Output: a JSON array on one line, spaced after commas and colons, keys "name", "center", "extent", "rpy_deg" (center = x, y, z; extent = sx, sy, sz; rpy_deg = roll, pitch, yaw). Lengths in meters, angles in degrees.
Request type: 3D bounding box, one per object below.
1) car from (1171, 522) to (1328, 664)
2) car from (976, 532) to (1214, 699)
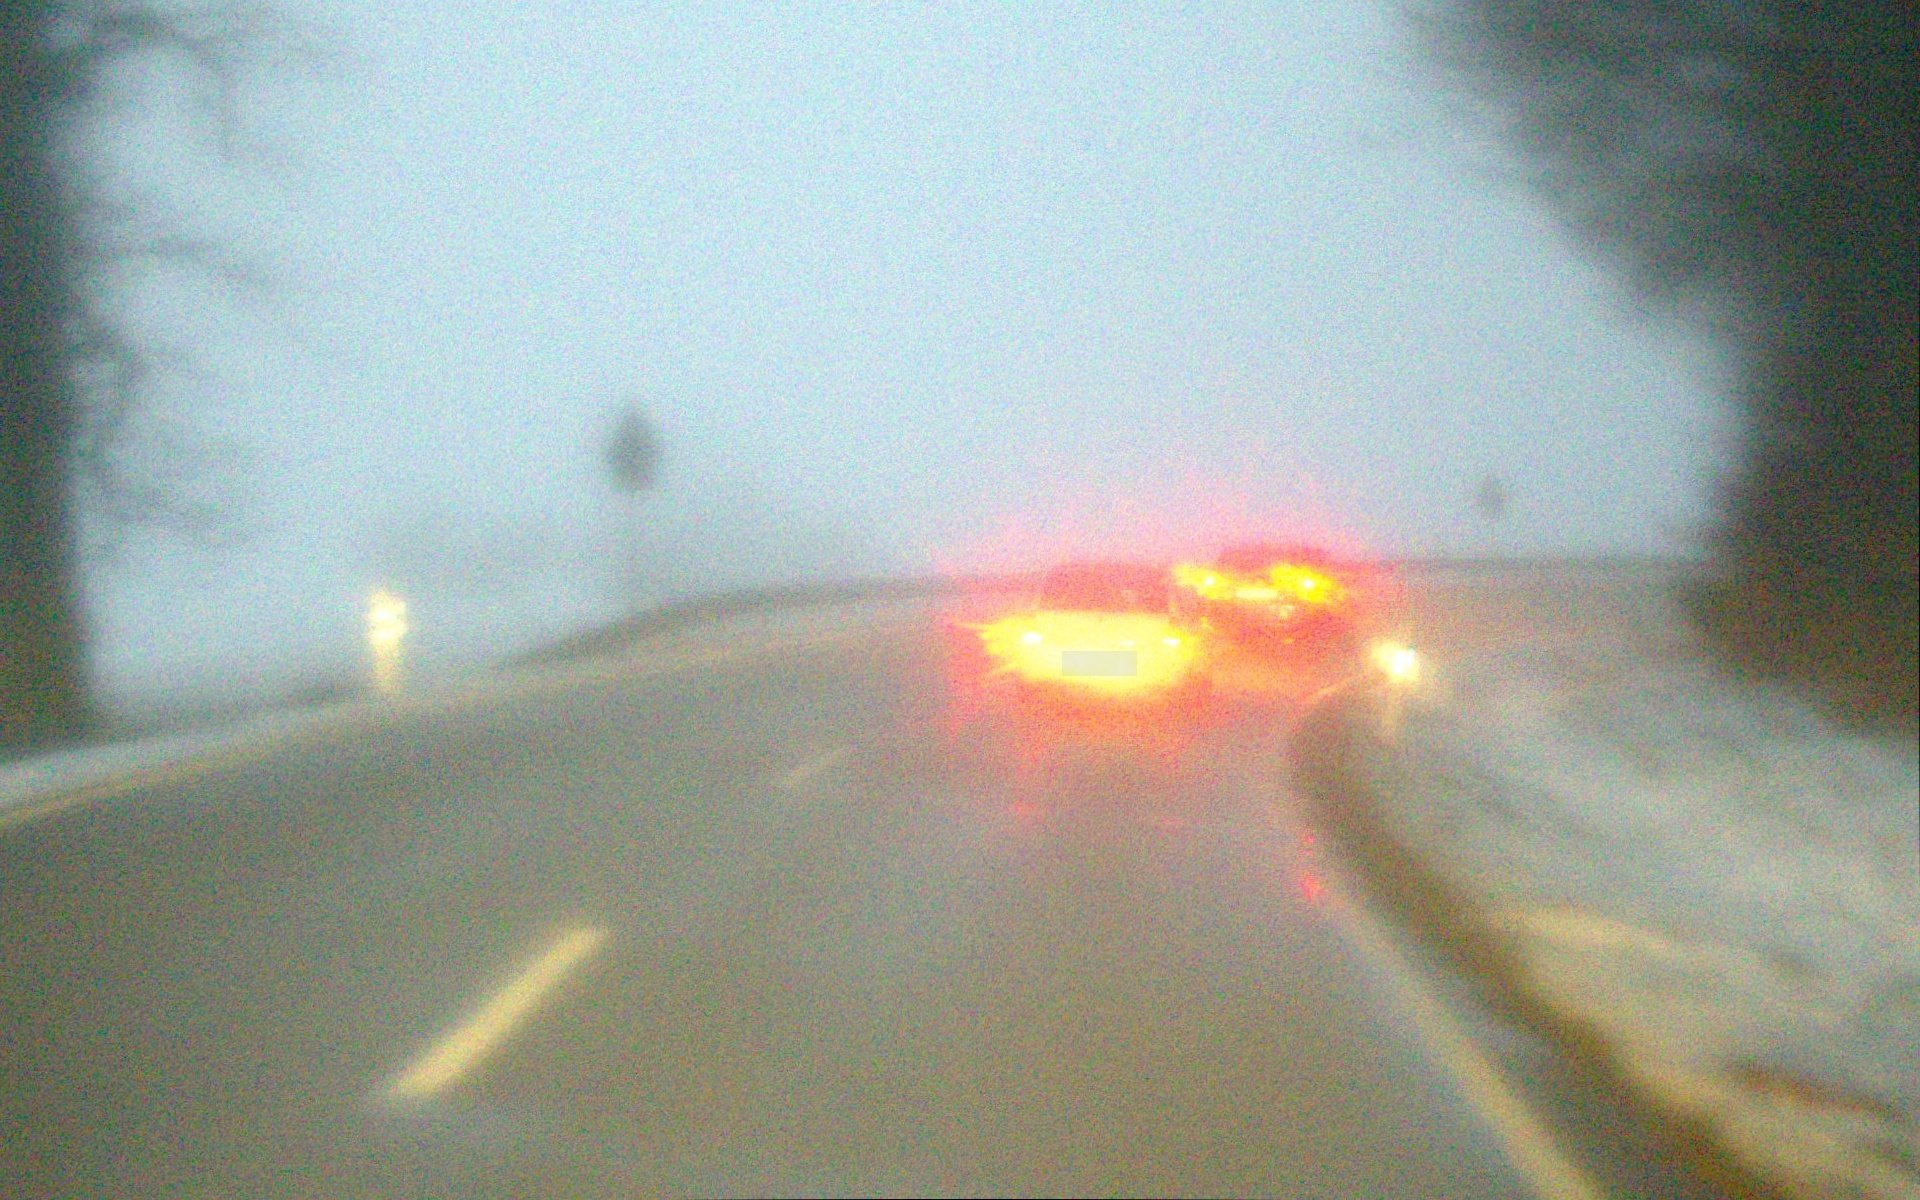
[{"name": "car", "center": [3.870, -0.132, 46.159], "extent": [1.994, 1.776, 4.000], "rpy_deg": [1, 2, 4]}, {"name": "car", "center": [1.338, 0.098, 32.376], "extent": [1.946, 1.376, 4.000], "rpy_deg": [-1, 2, 6]}]
